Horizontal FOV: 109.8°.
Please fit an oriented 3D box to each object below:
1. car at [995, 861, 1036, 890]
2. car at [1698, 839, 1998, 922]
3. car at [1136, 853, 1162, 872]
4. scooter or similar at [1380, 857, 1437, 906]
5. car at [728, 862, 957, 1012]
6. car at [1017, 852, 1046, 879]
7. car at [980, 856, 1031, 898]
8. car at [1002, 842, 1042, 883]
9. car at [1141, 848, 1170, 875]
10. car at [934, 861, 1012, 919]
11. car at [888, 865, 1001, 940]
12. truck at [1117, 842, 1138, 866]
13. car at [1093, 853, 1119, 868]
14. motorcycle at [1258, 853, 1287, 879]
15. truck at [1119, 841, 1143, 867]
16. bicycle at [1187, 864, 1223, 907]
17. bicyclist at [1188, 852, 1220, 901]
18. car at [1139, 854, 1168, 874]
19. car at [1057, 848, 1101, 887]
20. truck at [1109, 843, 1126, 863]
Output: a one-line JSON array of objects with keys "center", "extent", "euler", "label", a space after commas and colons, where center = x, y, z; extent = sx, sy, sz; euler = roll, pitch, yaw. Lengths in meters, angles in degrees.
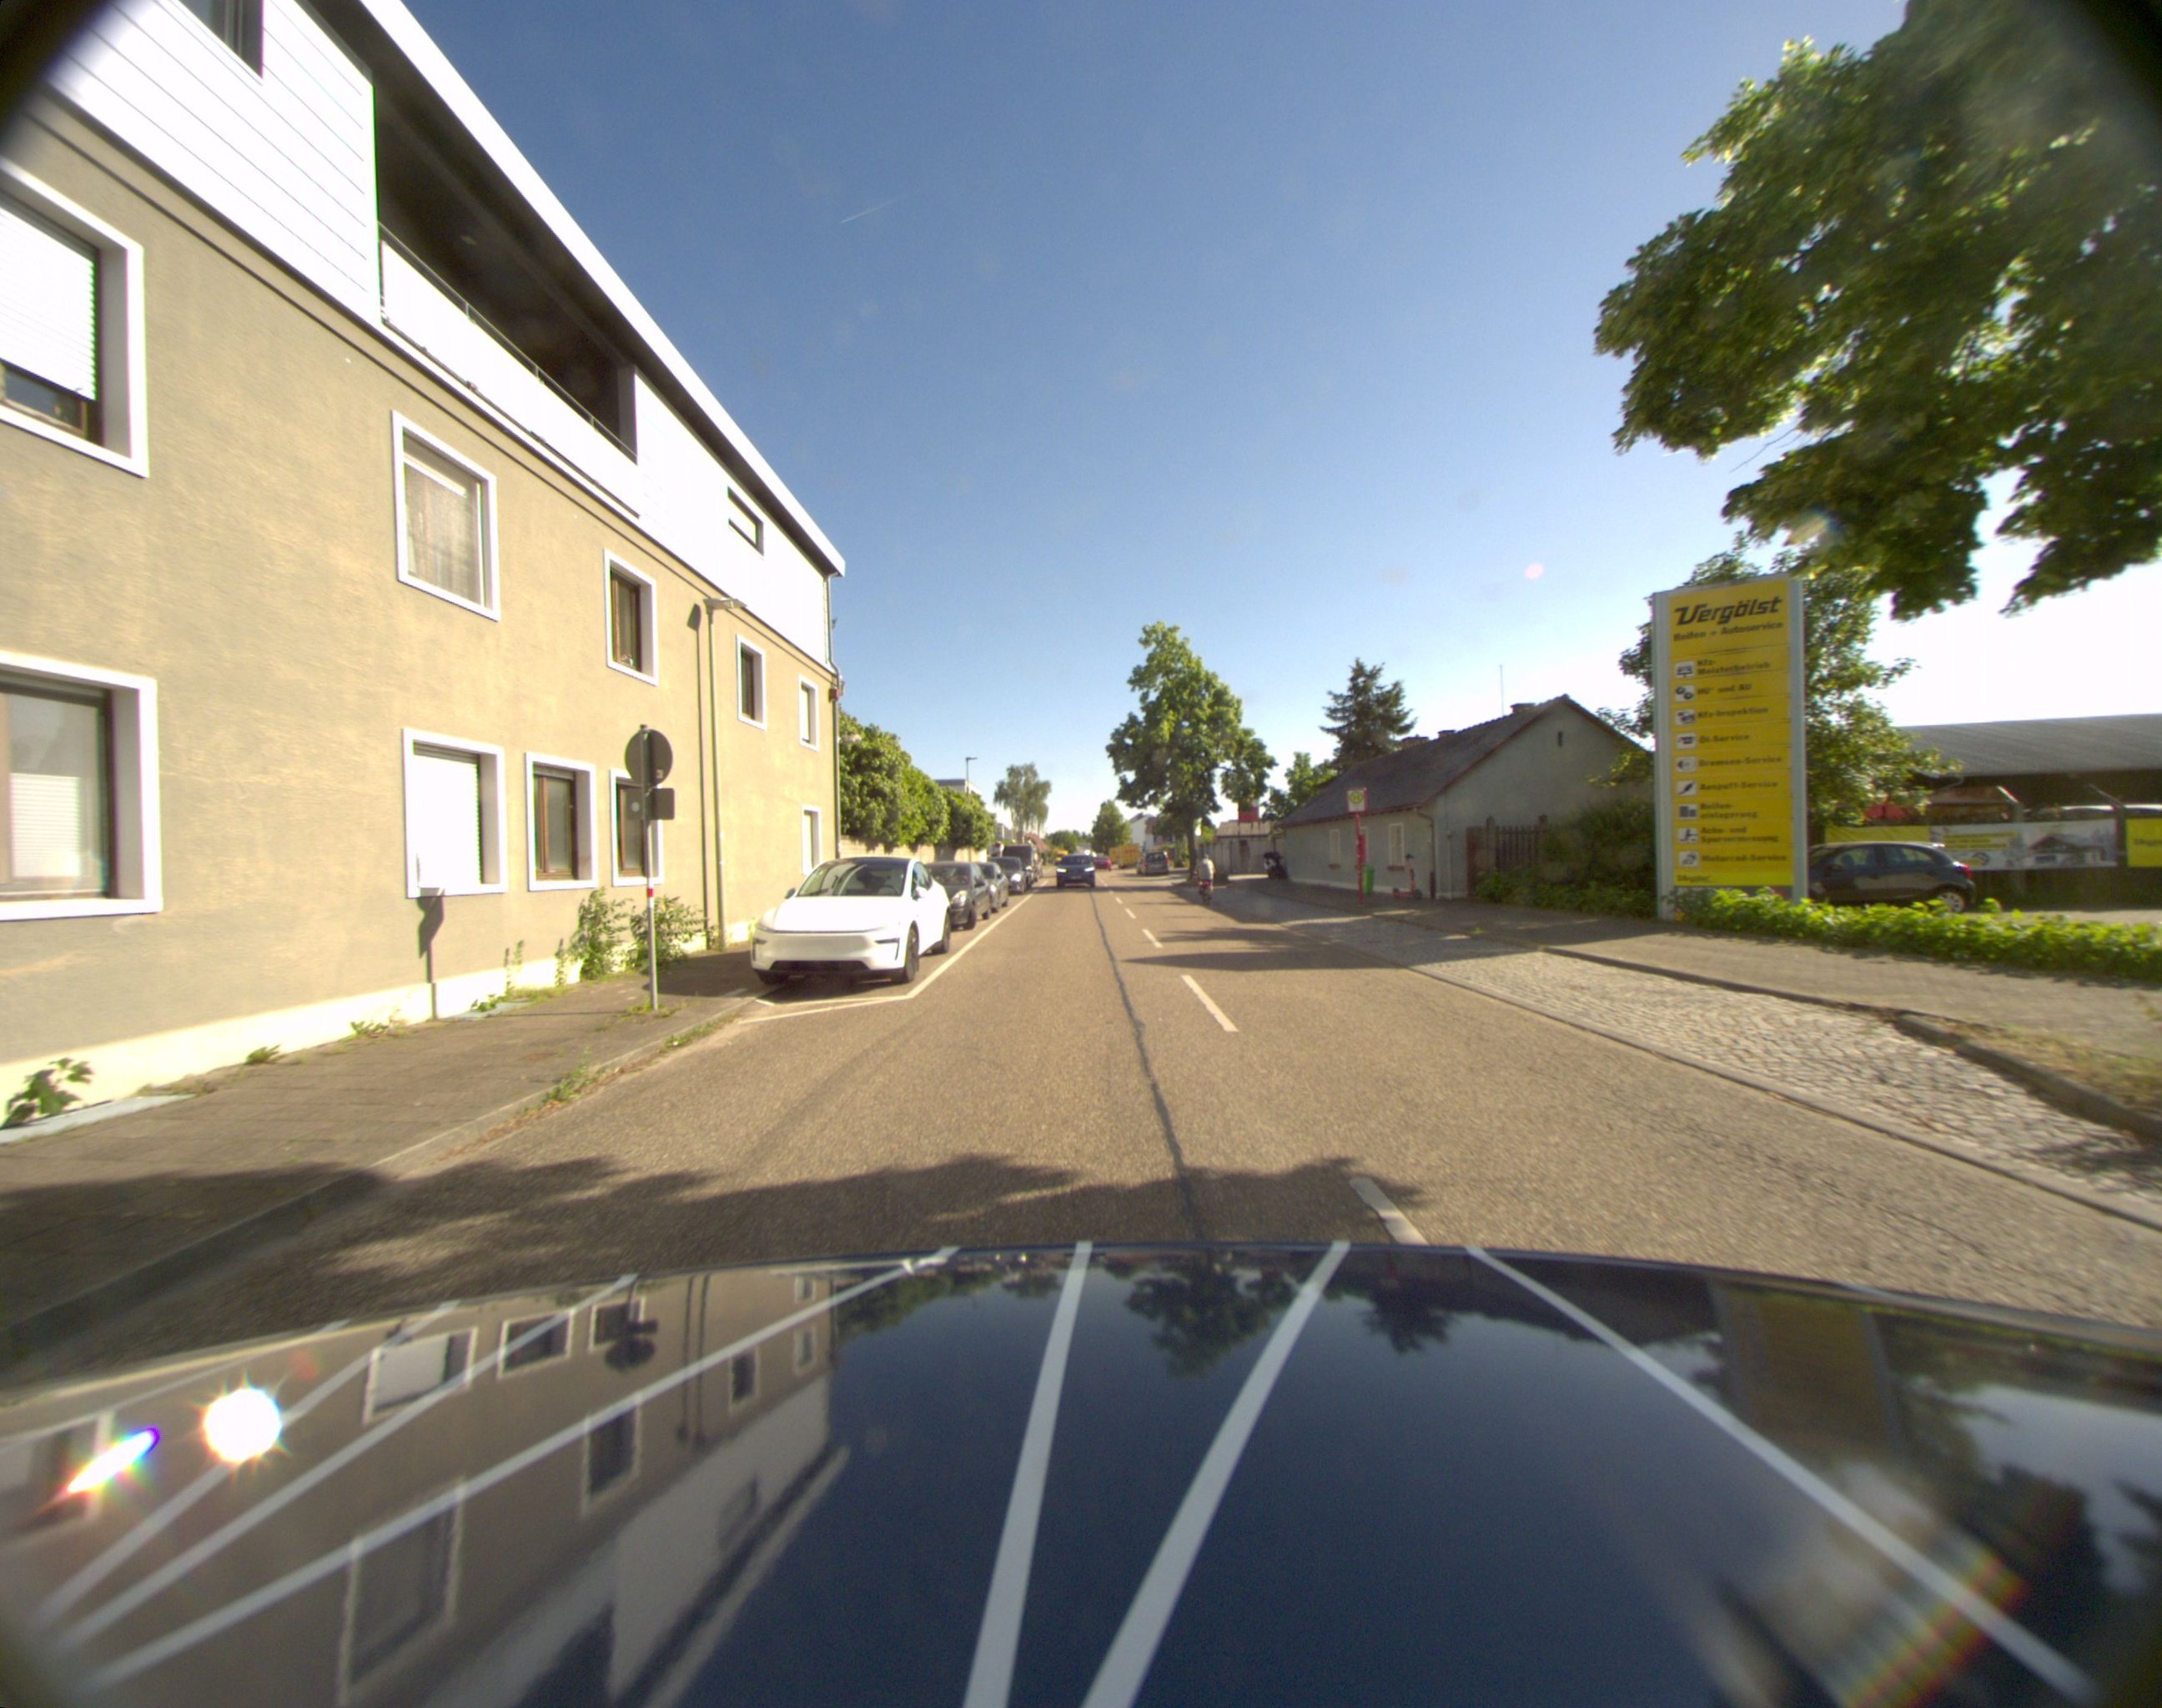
[{"center": [-3.227, 1.030, 37.960], "extent": [1.658, 1.310, 4.104], "euler": [-1, 0, 0], "label": "car"}, {"center": [15.341, 0.511, 15.405], "extent": [4.068, 1.506, 1.775], "euler": [-1, 0, 6], "label": "car"}, {"center": [5.830, 0.702, 65.517], "extent": [1.780, 1.439, 4.923], "euler": [-3, 0, 0], "label": "car"}, {"center": [8.901, 0.727, 20.691], "extent": [0.484, 1.263, 1.576], "euler": [-2, 1, -17], "label": "scooter or similar"}, {"center": [-3.107, 0.971, 11.080], "extent": [1.937, 1.635, 4.768], "euler": [-1, 0, -2], "label": "car"}, {"center": [-3.620, 0.808, 56.668], "extent": [1.806, 1.733, 4.911], "euler": [-3, 1, -1], "label": "car"}, {"center": [-3.179, 0.922, 32.882], "extent": [1.686, 1.604, 4.205], "euler": [-3, 0, 0], "label": "car"}, {"center": [-3.399, 0.491, 44.699], "extent": [1.897, 2.247, 5.145], "euler": [-1, 0, 0], "label": "car"}, {"center": [5.438, 0.514, 55.967], "extent": [1.779, 1.838, 4.616], "euler": [-3, 0, 3], "label": "car"}, {"center": [-3.086, 0.977, 22.374], "extent": [1.663, 1.496, 4.031], "euler": [-1, 0, 0], "label": "car"}, {"center": [-3.024, 1.024, 17.705], "extent": [1.602, 1.464, 4.190], "euler": [-1, 0, 4], "label": "car"}, {"center": [5.759, 0.001, 94.409], "extent": [2.145, 2.857, 5.749], "euler": [-3, 1, 0], "label": "truck"}, {"center": [2.475, 0.624, 74.306], "extent": [1.873, 1.412, 4.534], "euler": [1, 0, 10], "label": "car"}, {"center": [9.500, 0.568, 37.729], "extent": [0.701, 1.226, 2.539], "euler": [-4, 0, -1], "label": "motorcycle"}, {"center": [5.723, -0.031, 87.567], "extent": [2.173, 2.698, 5.749], "euler": [-3, 1, 0], "label": "truck"}, {"center": [3.968, 0.980, 24.487], "extent": [0.841, 1.232, 2.604], "euler": [1, 1, 3], "label": "bicycle"}, {"center": [3.989, 0.717, 24.718], "extent": [0.841, 1.533, 1.136], "euler": [1, 1, 3], "label": "bicyclist"}, {"center": [5.781, 0.766, 60.842], "extent": [1.780, 1.439, 4.615], "euler": [-3, 0, 0], "label": "car"}, {"center": [-0.136, 0.629, 38.183], "extent": [1.999, 1.750, 5.015], "euler": [-2, 0, -1], "label": "car"}, {"center": [6.053, -0.188, 125.725], "extent": [2.286, 3.012, 5.910], "euler": [-6, 1, 0], "label": "truck"}]
